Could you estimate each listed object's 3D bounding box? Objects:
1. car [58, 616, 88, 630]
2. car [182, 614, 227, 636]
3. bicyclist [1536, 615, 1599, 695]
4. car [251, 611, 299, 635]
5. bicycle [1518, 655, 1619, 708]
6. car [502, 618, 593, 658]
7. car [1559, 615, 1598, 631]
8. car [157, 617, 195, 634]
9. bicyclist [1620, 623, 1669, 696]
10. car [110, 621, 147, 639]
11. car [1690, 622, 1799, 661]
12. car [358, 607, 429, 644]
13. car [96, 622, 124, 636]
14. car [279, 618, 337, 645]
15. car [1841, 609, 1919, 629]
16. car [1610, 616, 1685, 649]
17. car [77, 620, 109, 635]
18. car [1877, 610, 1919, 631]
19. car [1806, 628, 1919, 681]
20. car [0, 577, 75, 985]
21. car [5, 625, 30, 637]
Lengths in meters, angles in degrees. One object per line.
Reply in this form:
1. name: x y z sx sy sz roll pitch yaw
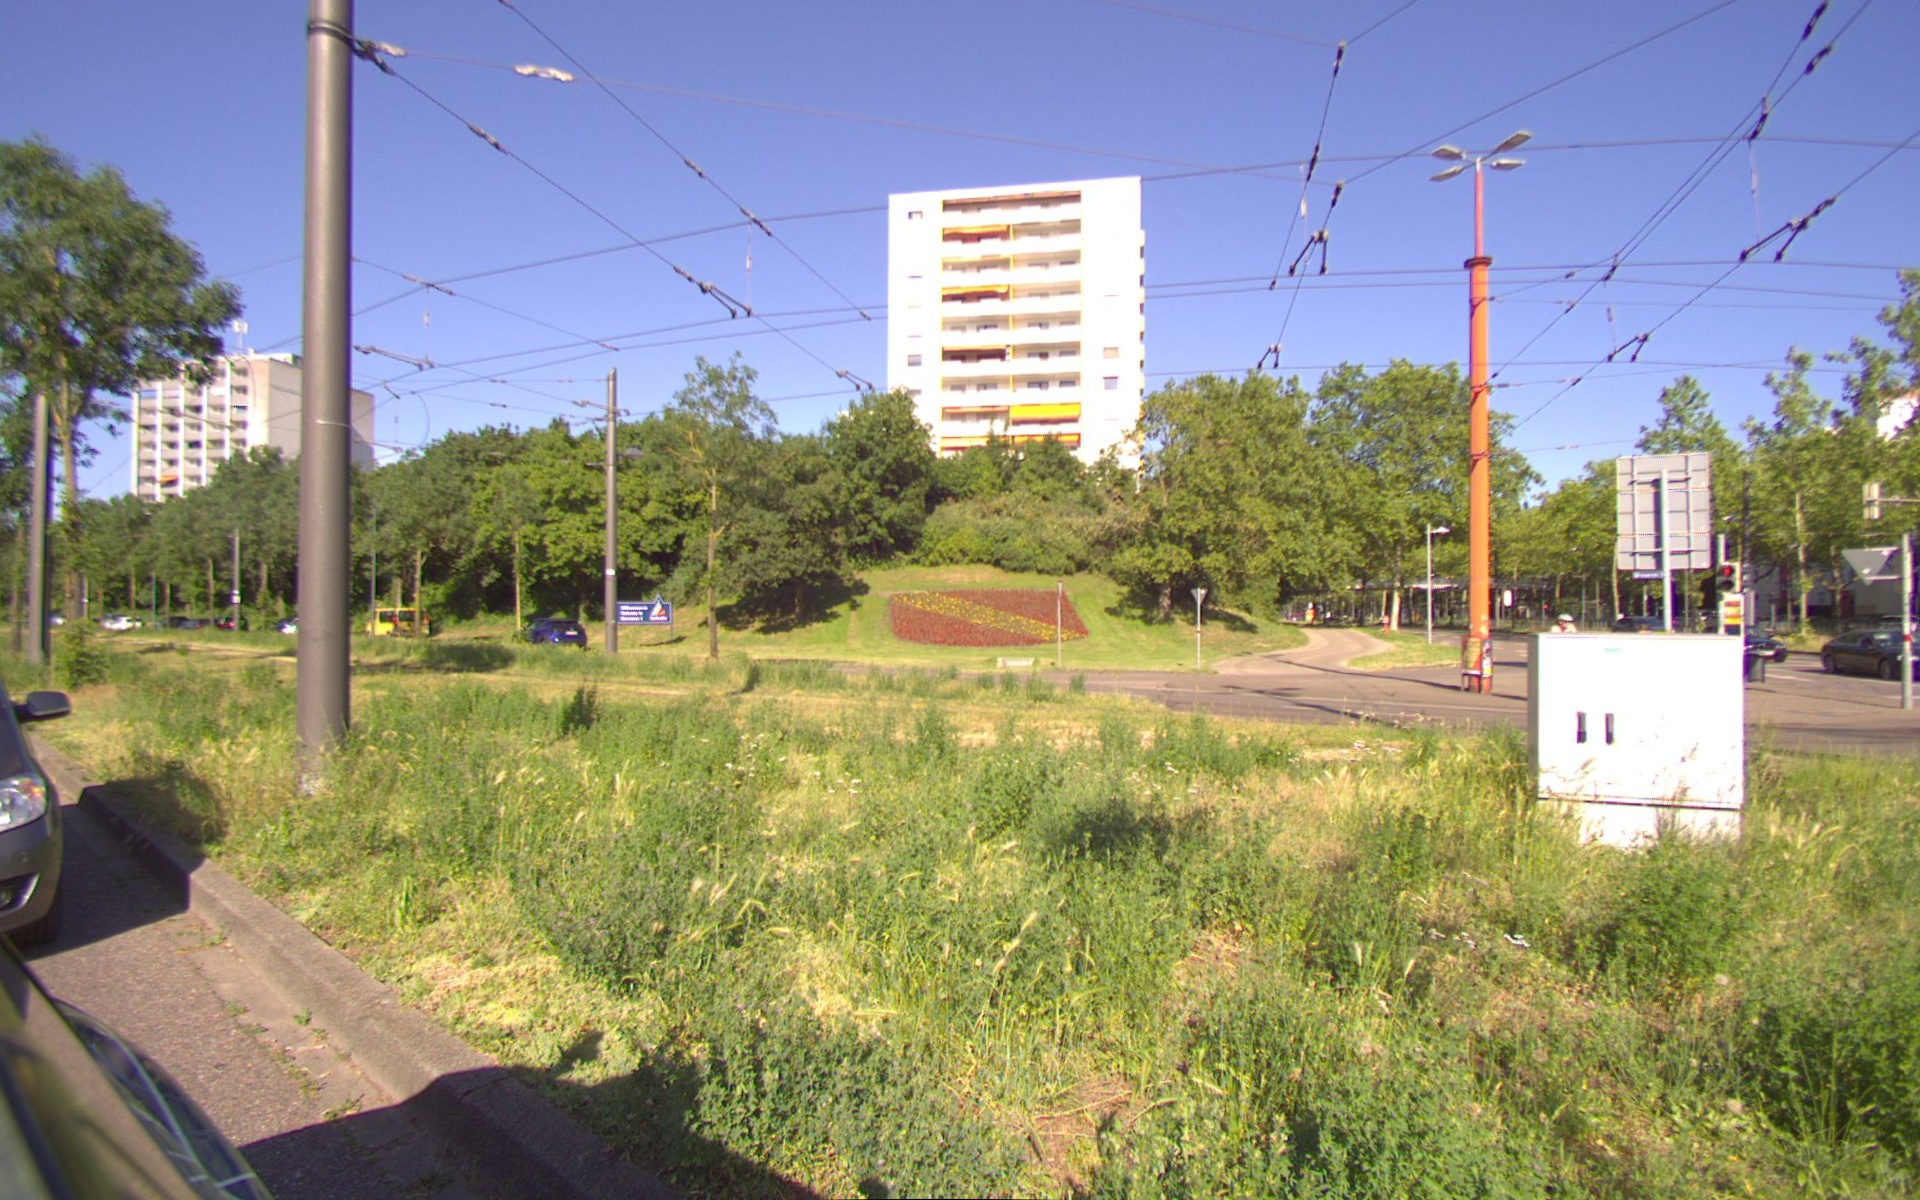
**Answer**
1. car: -96.474 2.468 110.095 3.998 1.497 1.972 -1 -2 41
2. car: -52.177 1.740 69.891 4.311 1.427 1.775 -2 -1 43
3. bicyclist: 12.133 1.090 20.231 0.719 1.557 0.770 0 -2 -20
4. car: -45.991 1.554 67.933 4.241 1.519 1.768 -2 -2 44
5. bicycle: 12.140 1.608 20.250 0.673 0.968 1.650 0 -1 -20
6. car: -17.652 1.594 43.209 4.104 1.586 1.973 -2 -1 41
7. car: 79.734 2.994 130.490 3.969 2.029 1.987 -1 -1 20
8. car: -64.694 2.102 83.527 4.000 1.429 1.843 -1 -2 43
9. bicyclist: 13.359 1.147 19.759 0.435 1.391 0.631 0 -2 -20
10. car: -67.886 2.419 82.606 4.000 1.429 1.842 -1 -2 43
11. car: 29.270 1.515 37.935 1.750 1.360 4.339 -1 -1 17
12. car: -31.511 1.430 56.250 4.905 1.981 1.972 -1 -2 42
13. car: -82.314 2.805 97.982 4.001 1.386 1.717 -1 -2 44
14. car: -35.777 1.722 55.501 4.020 1.417 1.671 -2 -1 42
15. car: 65.878 1.379 72.390 1.770 1.420 4.010 1 -1 -36
16. car: 36.412 1.709 53.706 1.833 1.721 4.288 -1 -2 13
17. car: -79.728 2.539 93.050 4.229 1.371 1.801 -1 -2 43
18. car: 64.890 1.401 68.408 1.770 1.420 4.010 1 -1 -36
19. car: 26.167 1.478 28.326 1.745 1.360 4.352 0 -1 8
20. car: -5.735 0.748 4.853 3.879 1.634 1.737 -1 -2 41
21. car: -112.363 3.665 120.673 3.998 1.475 1.779 -1 -2 41
